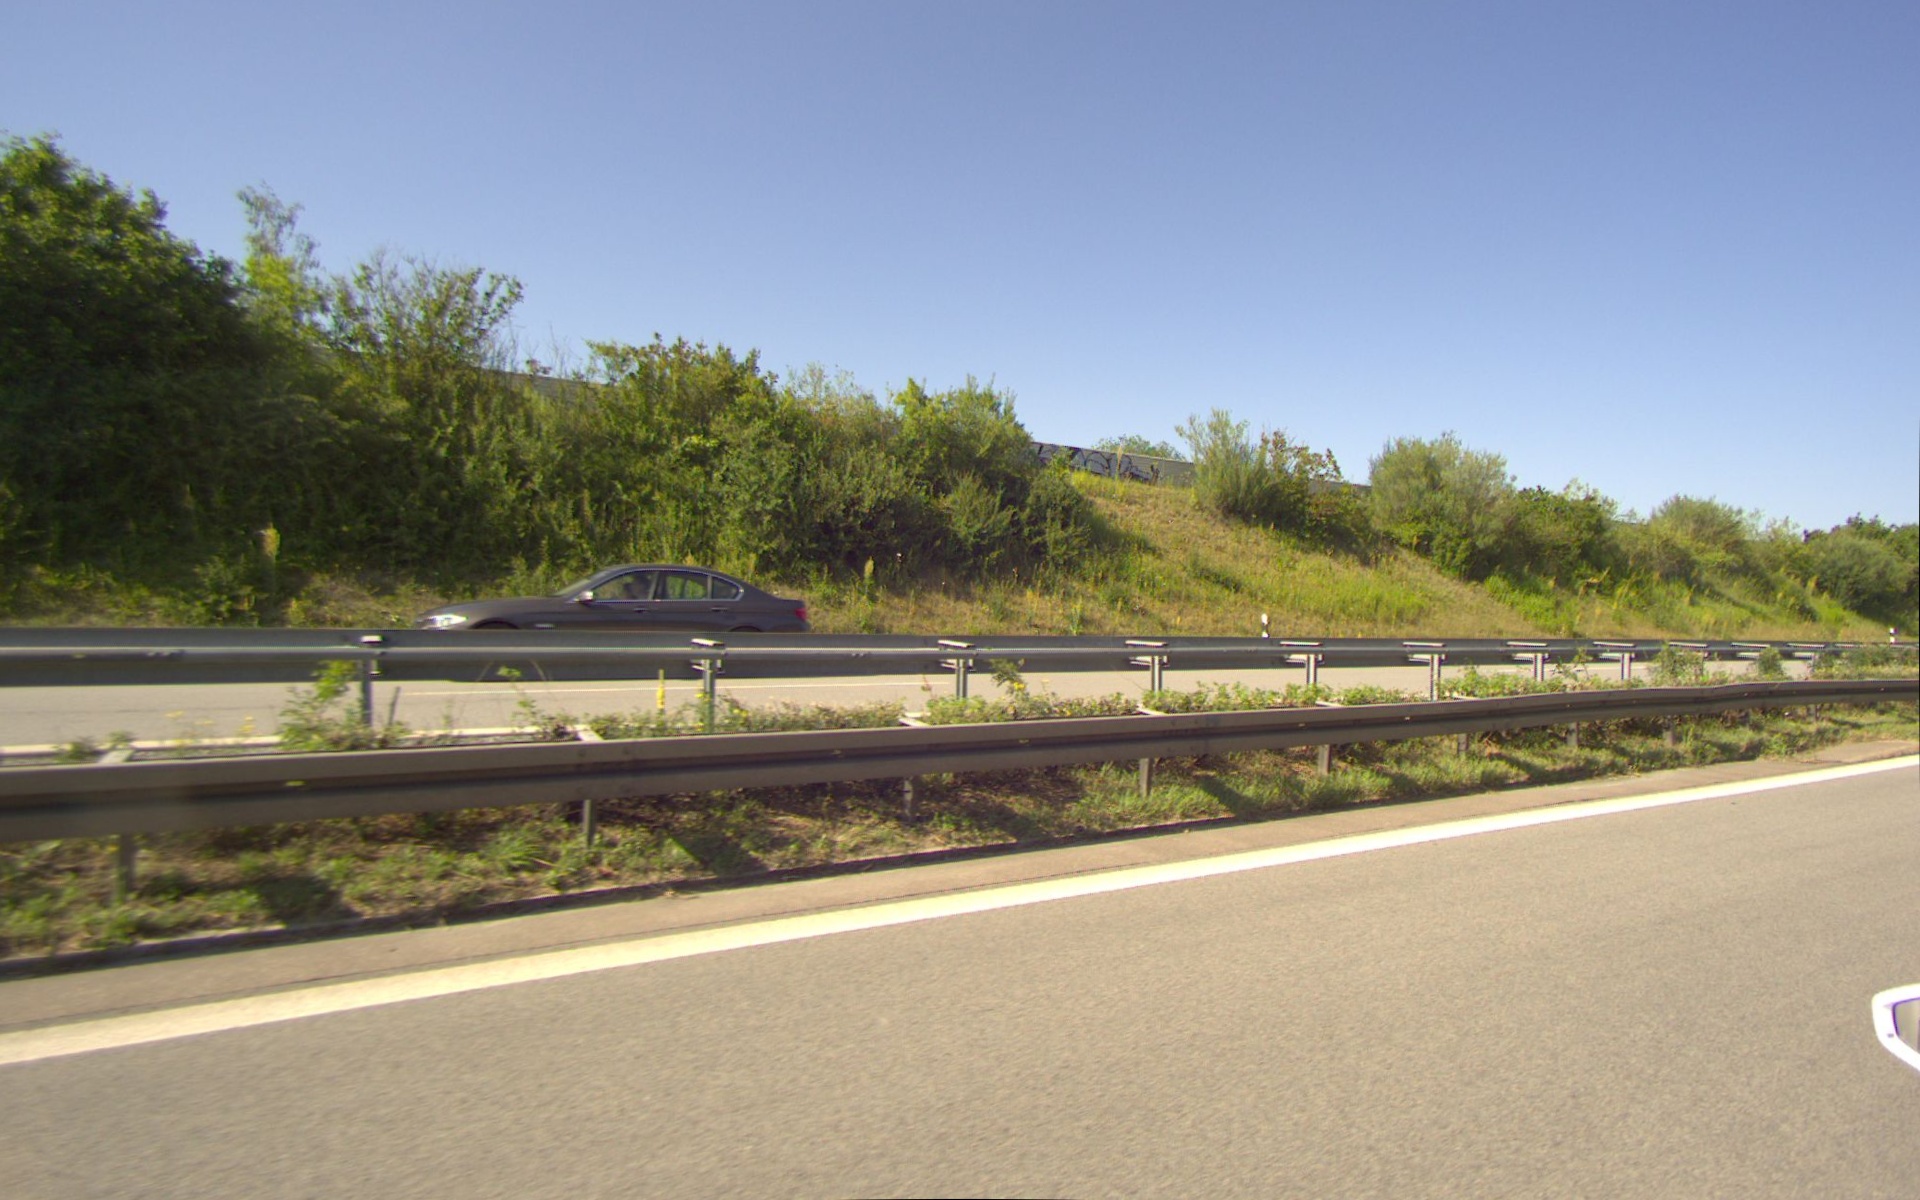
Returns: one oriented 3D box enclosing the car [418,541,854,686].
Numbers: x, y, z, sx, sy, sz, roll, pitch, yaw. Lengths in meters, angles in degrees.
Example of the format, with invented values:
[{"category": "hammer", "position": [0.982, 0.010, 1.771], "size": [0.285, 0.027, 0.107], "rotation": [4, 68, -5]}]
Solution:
[{"category": "car", "position": [-4.127, 0.222, 13.104], "size": [5.113, 1.585, 1.957], "rotation": [2, -1, -31]}]
